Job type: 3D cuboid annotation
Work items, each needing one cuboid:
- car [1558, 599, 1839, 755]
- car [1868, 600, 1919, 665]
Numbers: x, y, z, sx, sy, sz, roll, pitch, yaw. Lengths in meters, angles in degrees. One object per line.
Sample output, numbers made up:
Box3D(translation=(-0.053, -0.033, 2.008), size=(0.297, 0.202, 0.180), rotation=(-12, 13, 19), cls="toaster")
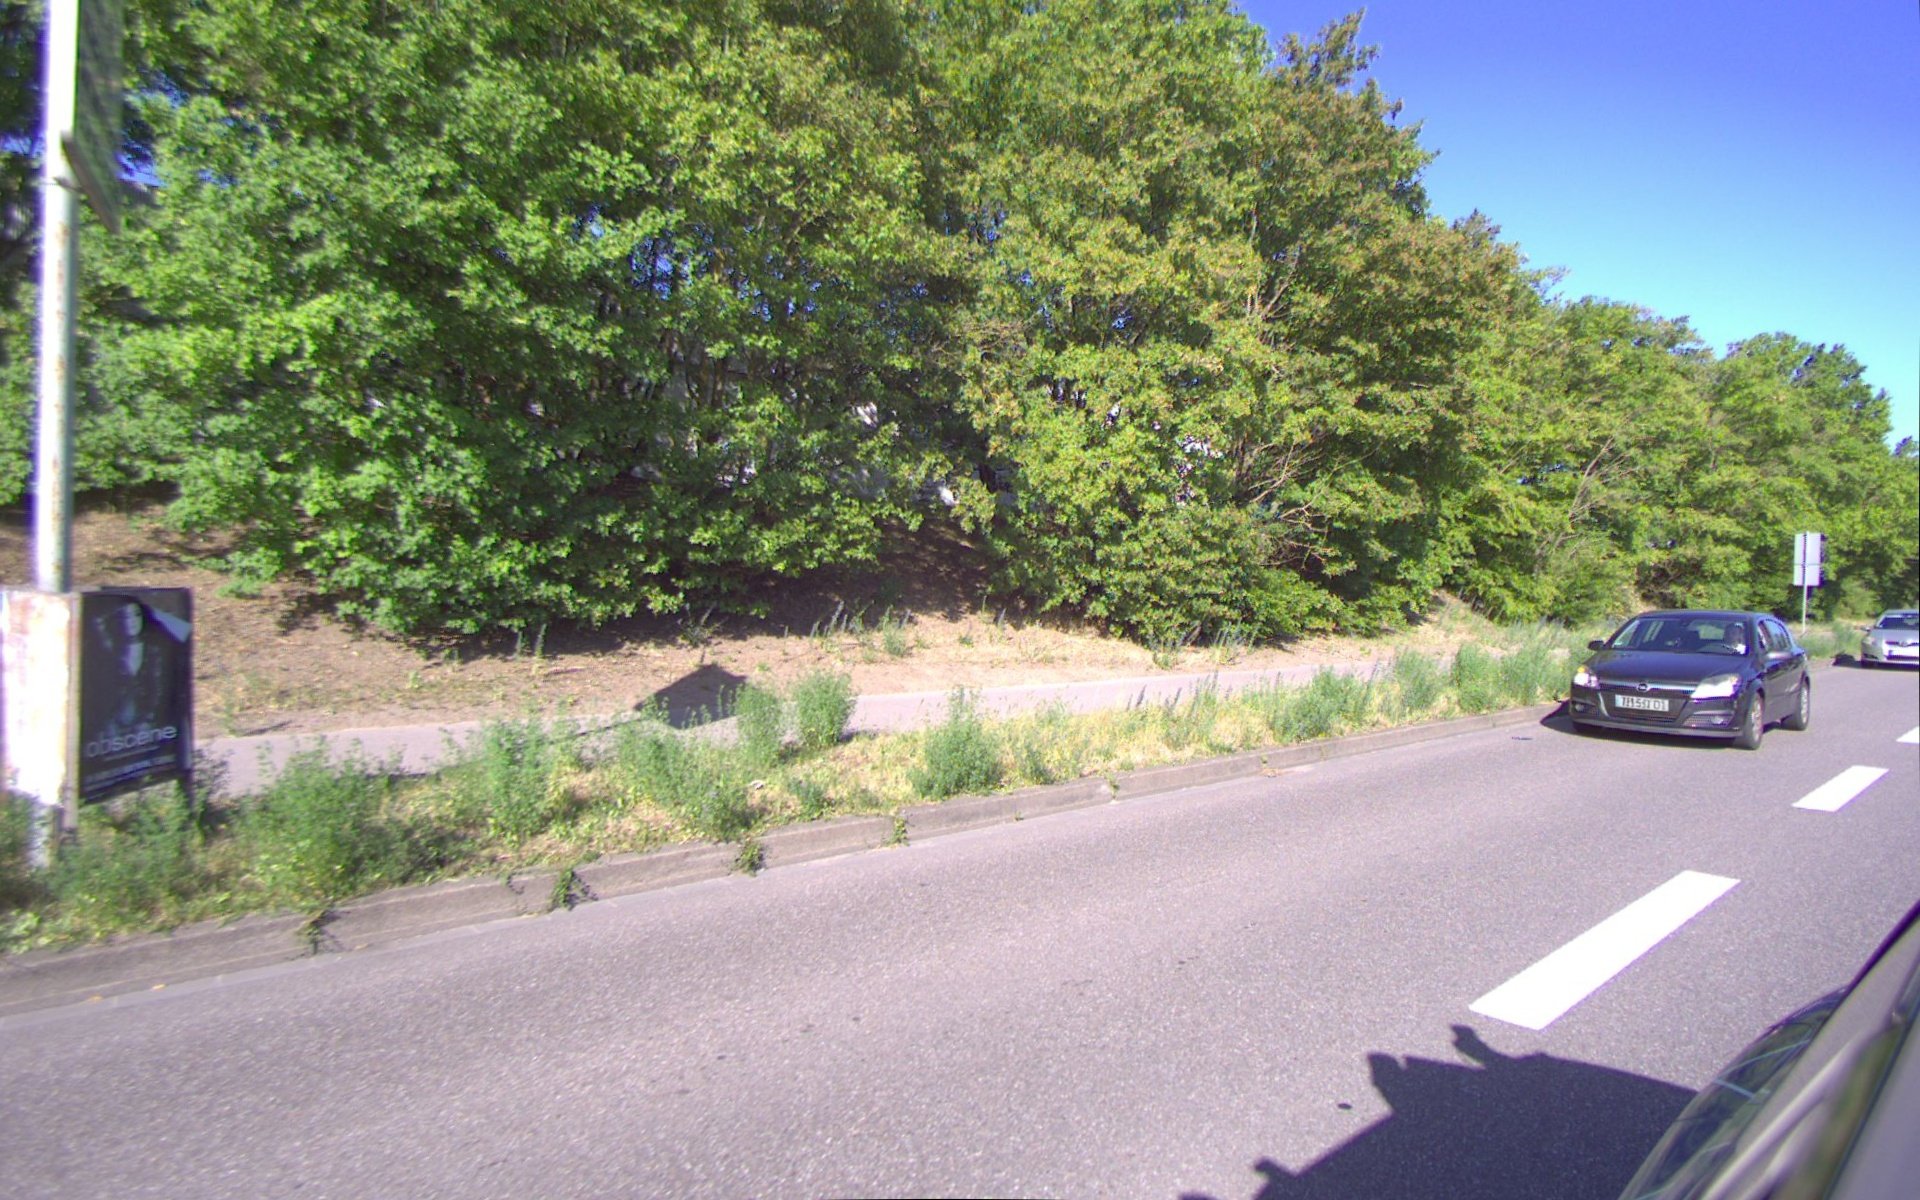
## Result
Box3D(translation=(8.676, 0.736, 11.744), size=(4.295, 1.460, 1.737), rotation=(0, 0, -41), cls="car")
Box3D(translation=(24.522, 0.790, 25.634), size=(4.036, 1.556, 1.786), rotation=(0, 0, -41), cls="car")
